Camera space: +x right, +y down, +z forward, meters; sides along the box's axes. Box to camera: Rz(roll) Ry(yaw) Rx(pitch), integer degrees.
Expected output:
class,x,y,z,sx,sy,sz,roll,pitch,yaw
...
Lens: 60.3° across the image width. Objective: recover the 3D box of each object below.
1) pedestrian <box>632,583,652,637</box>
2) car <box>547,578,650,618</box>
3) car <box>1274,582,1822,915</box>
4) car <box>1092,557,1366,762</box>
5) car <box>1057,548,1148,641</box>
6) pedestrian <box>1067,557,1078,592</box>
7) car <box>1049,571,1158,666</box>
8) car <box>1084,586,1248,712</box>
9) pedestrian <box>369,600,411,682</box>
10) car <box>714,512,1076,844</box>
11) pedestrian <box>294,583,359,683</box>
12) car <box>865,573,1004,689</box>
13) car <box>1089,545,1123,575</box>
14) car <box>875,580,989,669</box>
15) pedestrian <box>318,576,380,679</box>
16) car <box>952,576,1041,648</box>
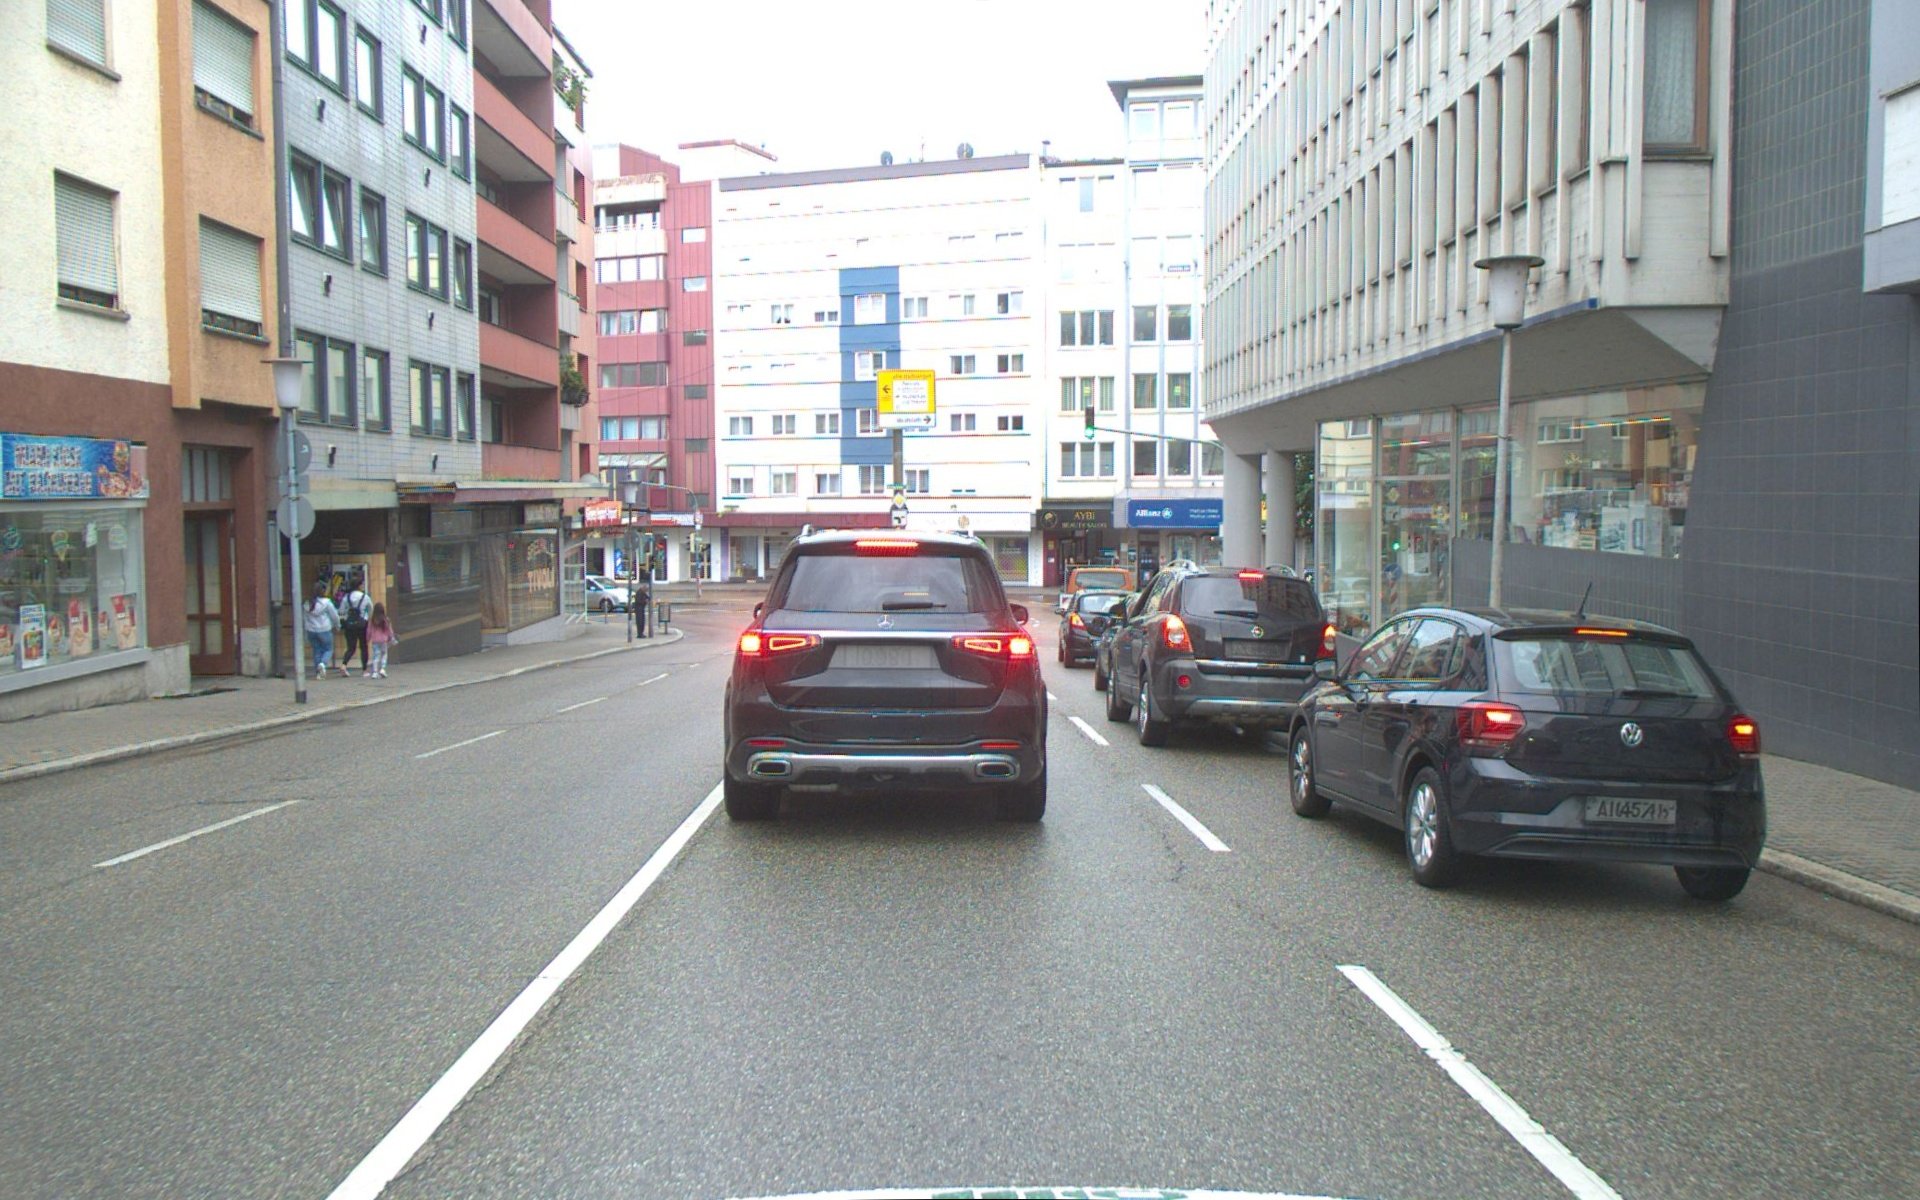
class,x,y,z,sx,sy,sz,roll,pitch,yaw
pedestrian,-10.119,0.313,52.667,0.543,1.727,0.623,0,0,-4
car,-15.963,-0.117,73.043,4.073,1.620,1.742,2,1,14
car,3.184,0.689,9.875,1.655,1.502,3.998,3,1,-2
car,2.562,0.498,16.860,1.859,1.724,4.504,3,1,-2
car,3.685,-0.149,43.625,2.195,2.267,5.431,1,0,3
pedestrian,5.802,-1.332,85.353,0.552,1.717,0.757,0,6,5
car,2.730,0.344,32.361,1.785,1.687,4.496,1,0,1
car,2.754,0.602,22.914,1.731,1.421,4.001,5,1,1
pedestrian,-9.632,0.692,27.954,0.523,1.346,0.722,2,0,-10
car,-0.452,0.413,11.583,1.998,1.830,4.661,1,1,-2
pedestrian,-10.335,0.532,27.005,0.812,1.588,0.722,2,0,-10
car,-0.425,0.389,24.221,1.836,1.521,4.398,1,1,-2
car,8.668,-2.361,97.999,1.759,1.699,4.004,-1,1,8
car,-0.513,0.397,30.676,1.953,1.512,4.236,-1,1,-1
pedestrian,-10.406,0.465,28.203,0.812,1.719,0.722,2,0,-10
car,0.813,0.304,39.132,1.885,1.542,4.661,2,-1,-1
